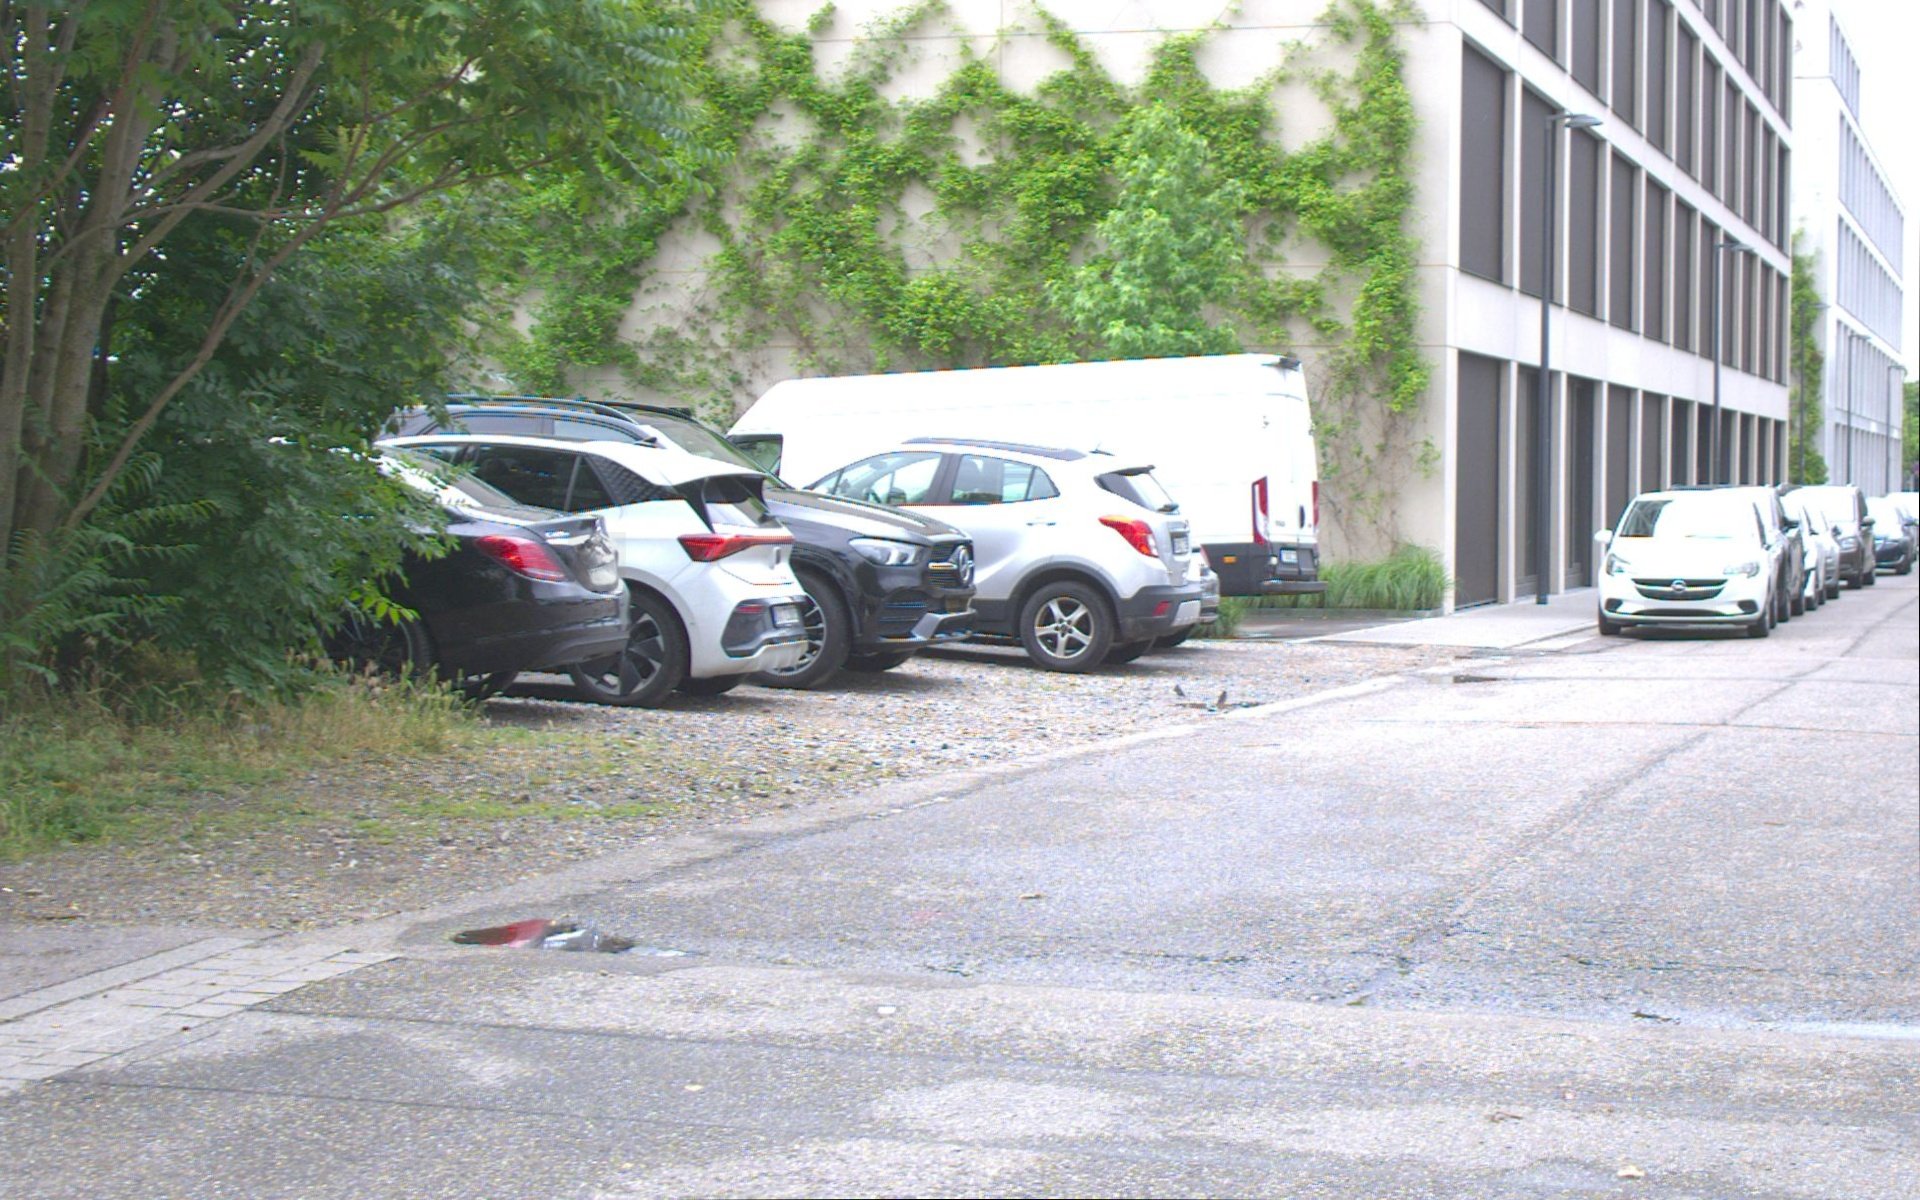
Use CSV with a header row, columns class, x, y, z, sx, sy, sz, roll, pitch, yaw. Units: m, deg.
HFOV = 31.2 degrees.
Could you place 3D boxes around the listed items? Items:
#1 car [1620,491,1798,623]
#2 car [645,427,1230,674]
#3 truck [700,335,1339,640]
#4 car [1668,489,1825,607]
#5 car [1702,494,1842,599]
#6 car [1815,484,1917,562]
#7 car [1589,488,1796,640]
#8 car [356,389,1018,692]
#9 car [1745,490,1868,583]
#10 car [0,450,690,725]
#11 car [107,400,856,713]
class,x,y,z,sx,sy,sz,roll,pitch,yaw
car,9.050,-0.559,41.327,1.887,1.448,3.998,1,2,15
car,-0.145,-0.409,25.903,3.990,1.638,1.890,3,2,16
truck,0.567,-1.146,33.671,5.844,2.718,2.053,3,3,21
car,10.531,-0.730,45.870,1.887,1.448,3.998,1,2,15
car,12.140,-0.829,51.259,1.887,1.448,3.998,1,2,15
car,17.967,-1.548,68.119,1.887,1.448,3.998,1,2,15
car,7.700,-0.426,35.908,1.887,1.448,3.998,1,2,15
car,-1.798,-0.444,22.991,3.990,1.872,1.890,1,3,17
car,14.114,-1.083,57.187,1.887,1.448,3.998,1,2,15
car,-3.656,-0.088,18.369,3.990,1.345,1.890,1,0,16
car,-2.835,-0.297,20.622,3.990,1.638,1.890,3,2,16
